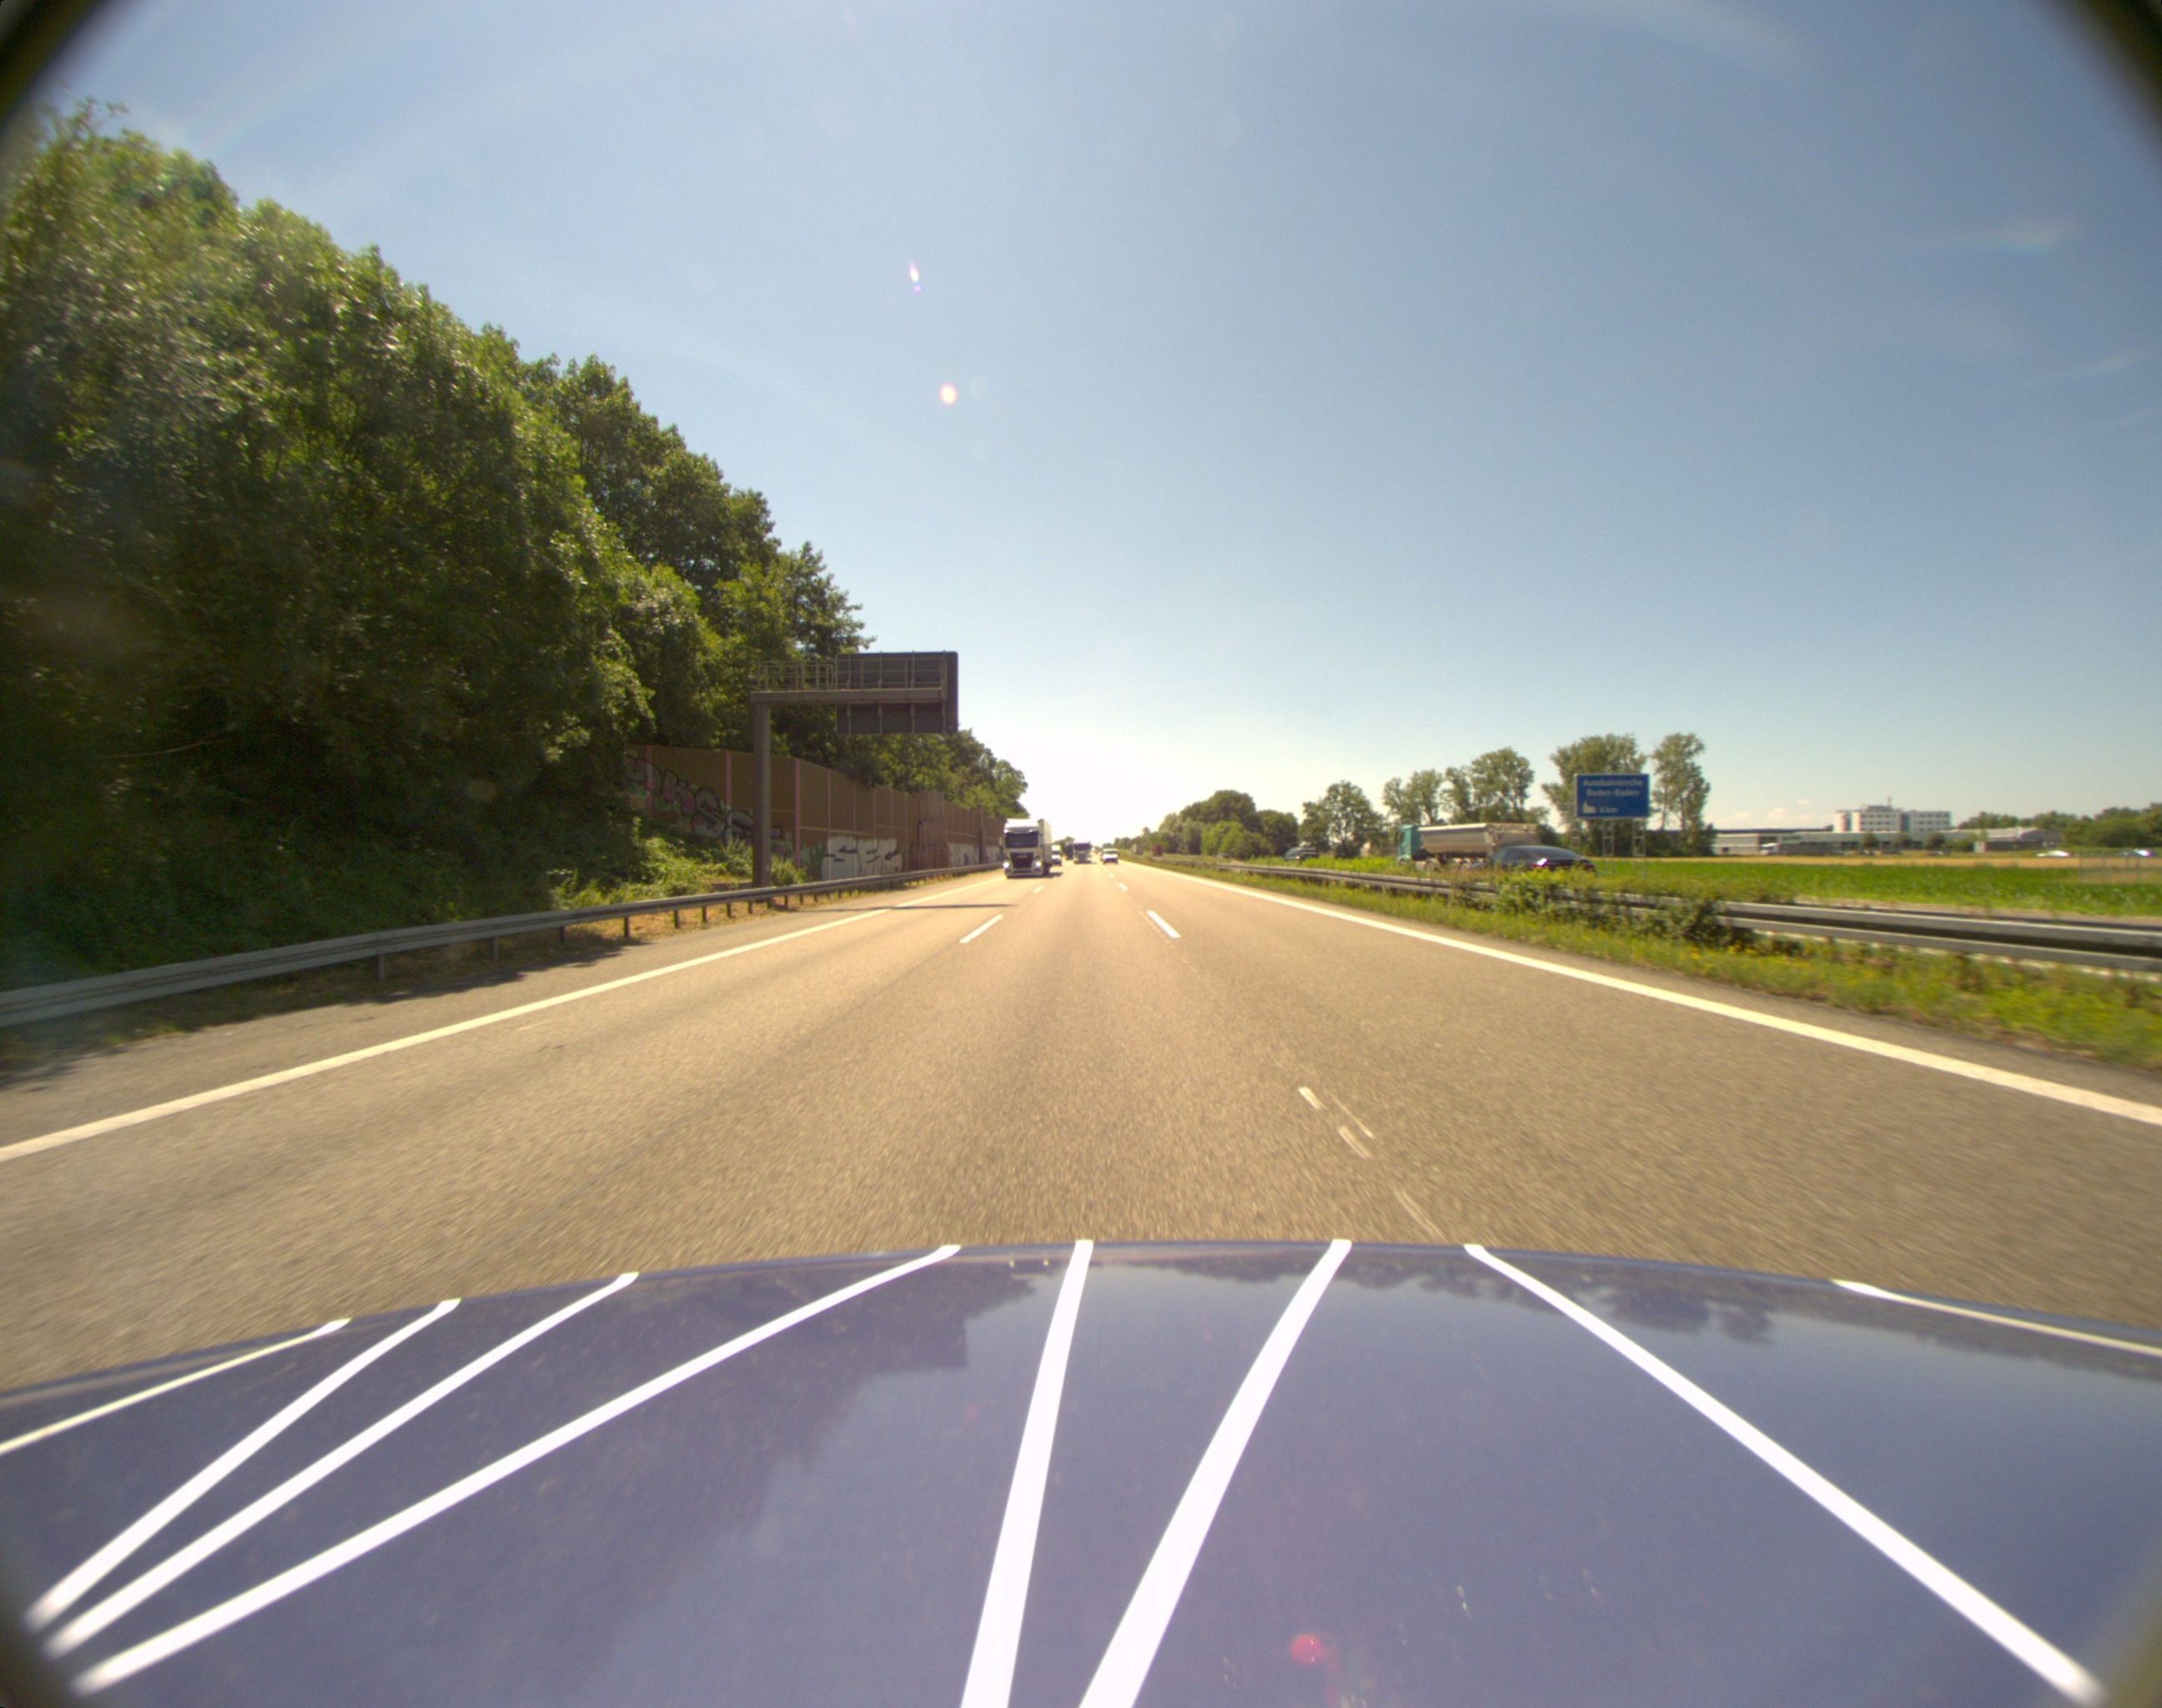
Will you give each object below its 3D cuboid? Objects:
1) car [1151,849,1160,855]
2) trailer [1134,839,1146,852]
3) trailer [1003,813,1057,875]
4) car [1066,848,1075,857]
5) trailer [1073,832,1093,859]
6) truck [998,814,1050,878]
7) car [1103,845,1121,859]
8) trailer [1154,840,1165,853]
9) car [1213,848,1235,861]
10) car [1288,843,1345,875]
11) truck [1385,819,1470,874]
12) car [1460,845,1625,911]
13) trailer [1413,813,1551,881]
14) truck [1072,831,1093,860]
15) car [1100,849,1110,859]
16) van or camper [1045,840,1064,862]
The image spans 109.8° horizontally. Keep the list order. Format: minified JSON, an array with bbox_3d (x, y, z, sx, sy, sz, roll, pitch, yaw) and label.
[{"bbox_3d":[19.709,-0.603,200.427,1.998,1.670,5.552,0,0,1],"label":"car"},{"bbox_3d":[20.661,-2.984,266.219,3.203,4.397,13.324,0,1,1],"label":"trailer"},{"bbox_3d":[-3.737,-0.752,59.390,3.001,4.264,13.416,-2,1,1],"label":"trailer"},{"bbox_3d":[-2.360,-0.405,168.573,1.998,2.002,4.867,0,0,1],"label":"car"},{"bbox_3d":[0.348,-1.298,116.374,2.927,4.018,7.316,-2,1,0],"label":"trailer"},{"bbox_3d":[-3.830,-0.578,52.111,3.010,4.101,5.252,-1,1,1],"label":"truck"},{"bbox_3d":[4.061,-0.284,100.222,2.147,1.810,5.267,-1,1,1],"label":"car"},{"bbox_3d":[24.680,-2.481,239.237,2.665,3.897,8.660,2,1,1],"label":"trailer"},{"bbox_3d":[18.911,0.071,100.656,1.998,1.630,5.663,0,0,1],"label":"car"},{"bbox_3d":[13.581,0.262,44.069,1.874,1.732,4.721,0,0,1],"label":"car"},{"bbox_3d":[21.408,-0.483,47.323,2.704,3.232,5.837,-1,1,1],"label":"truck"},{"bbox_3d":[13.552,0.631,22.748,2.033,1.768,4.842,0,0,1],"label":"car"},{"bbox_3d":[21.326,-0.392,41.207,2.682,3.219,9.257,-1,1,1],"label":"trailer"},{"bbox_3d":[0.319,-1.262,111.733,2.896,4.007,6.869,-2,1,1],"label":"truck"},{"bbox_3d":[4.239,-0.015,135.888,1.796,1.696,4.000,0,0,1],"label":"car"},{"bbox_3d":[-3.301,-0.450,96.477,2.027,2.622,6.486,-2,1,0],"label":"van or camper"}]
